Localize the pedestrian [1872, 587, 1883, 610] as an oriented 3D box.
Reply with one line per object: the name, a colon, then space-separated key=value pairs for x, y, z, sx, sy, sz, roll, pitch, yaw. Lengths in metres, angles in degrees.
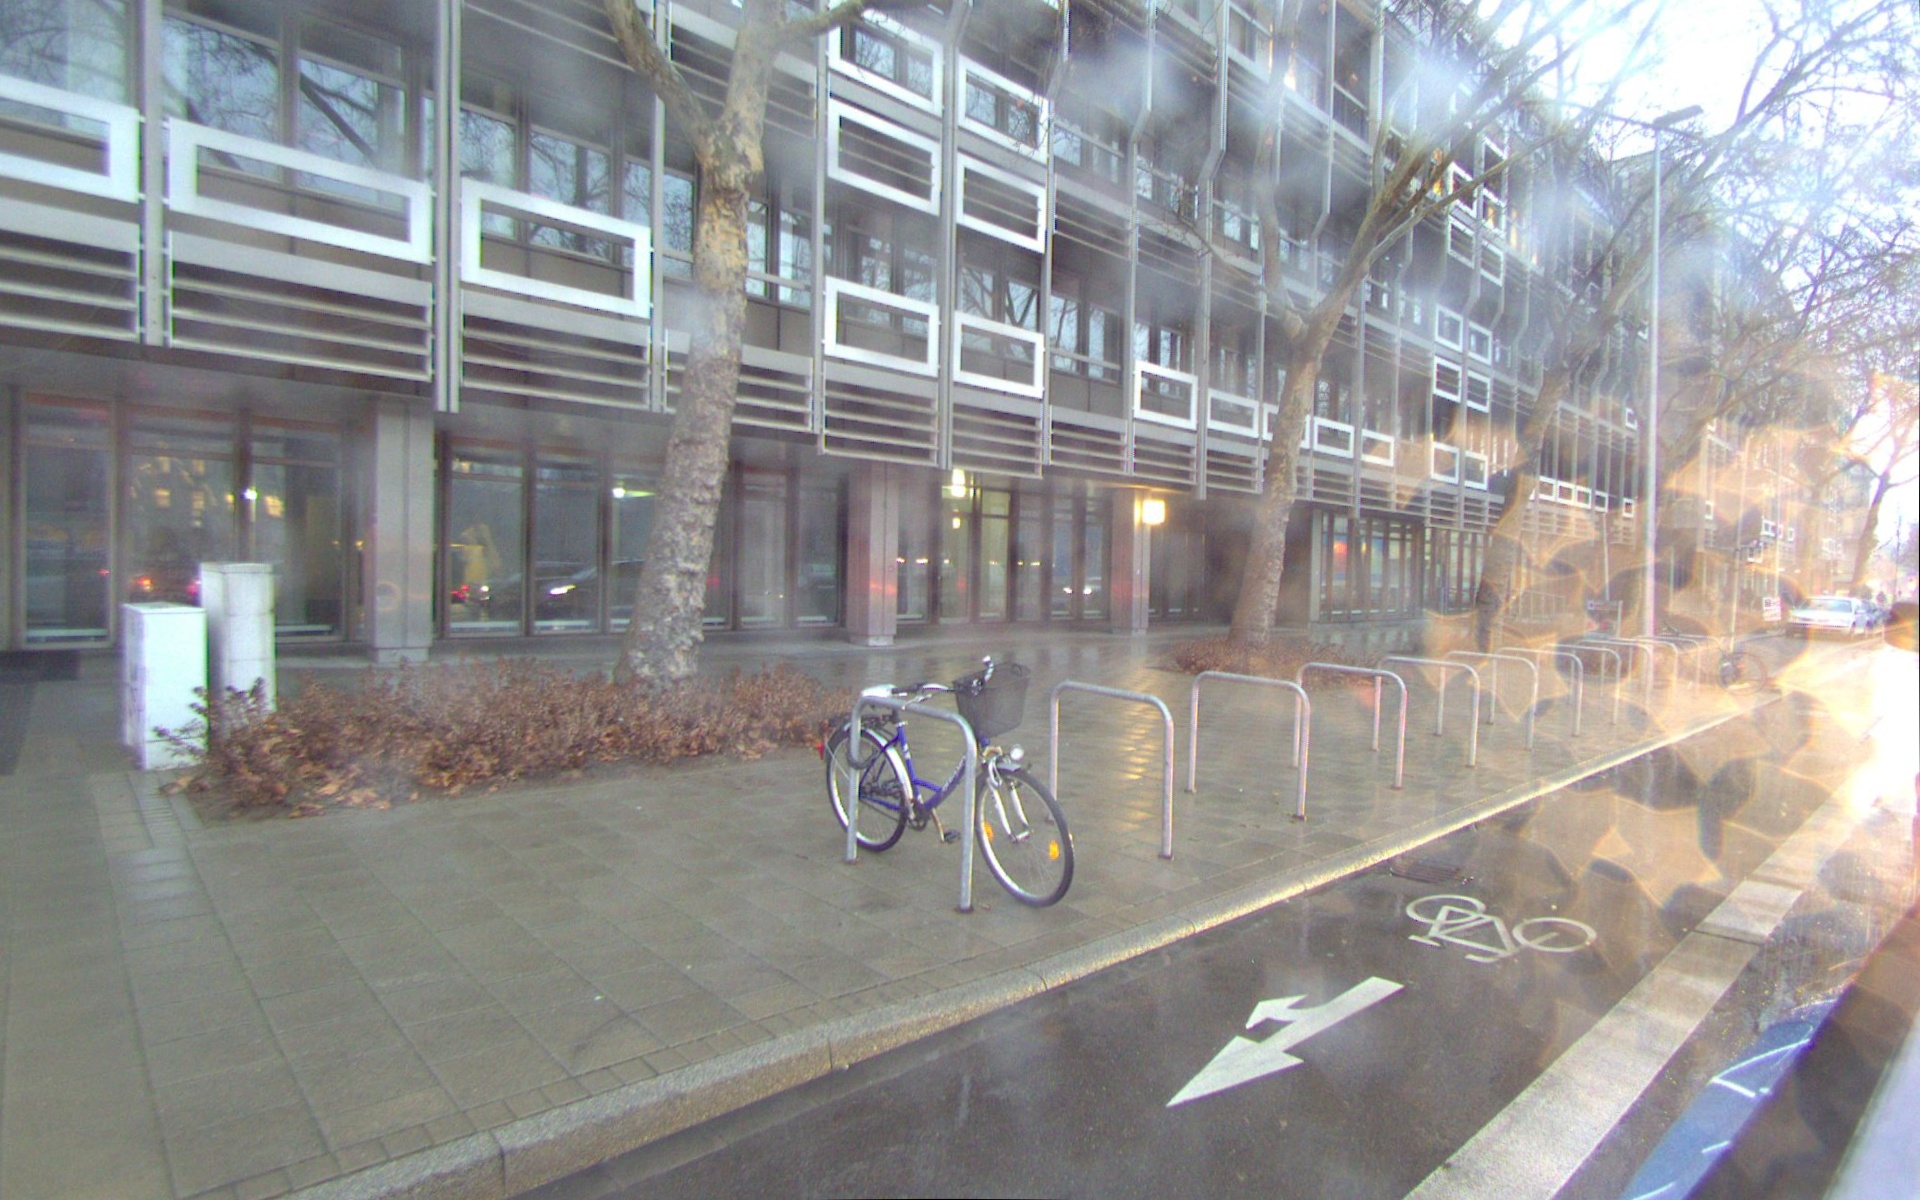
pedestrian: x=72.223 y=-0.153 z=79.636 sx=0.584 sy=1.771 sz=0.658 roll=2 pitch=2 yaw=45

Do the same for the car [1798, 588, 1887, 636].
car: x=29.412 y=0.363 z=33.689 sx=3.930 sy=1.482 sz=1.711 roll=-1 pitch=1 yaw=-41

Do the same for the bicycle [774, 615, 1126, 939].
bicycle: x=-0.134 y=0.716 z=4.875 sx=0.629 sy=1.145 sz=1.810 roll=2 pitch=2 yaw=-41

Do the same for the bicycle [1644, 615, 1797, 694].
bicycle: x=11.694 y=0.812 z=15.595 sx=0.864 sy=1.004 sz=1.704 roll=0 pitch=4 yaw=-41

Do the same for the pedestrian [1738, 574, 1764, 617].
pedestrian: x=41.909 y=-0.248 z=53.637 sx=1.056 sy=2.222 sz=1.096 roll=0 pitch=0 yaw=38

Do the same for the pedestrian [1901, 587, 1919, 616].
pedestrian: x=59.816 y=0.095 z=63.726 sx=0.765 sy=1.771 sz=0.913 roll=2 pitch=2 yaw=45

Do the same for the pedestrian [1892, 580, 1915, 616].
pedestrian: x=47.125 y=-0.121 z=50.527 sx=0.765 sy=1.771 sz=0.913 roll=2 pitch=2 yaw=45

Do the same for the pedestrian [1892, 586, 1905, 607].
pedestrian: x=81.329 y=-0.278 z=87.663 sx=0.765 sy=1.771 sz=0.913 roll=2 pitch=2 yaw=45

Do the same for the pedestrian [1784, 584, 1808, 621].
pedestrian: x=40.761 y=0.093 z=49.355 sx=0.765 sy=1.771 sz=0.913 roll=2 pitch=2 yaw=45

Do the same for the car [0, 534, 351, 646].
car: x=-10.830 y=-0.177 z=13.967 sx=3.929 sy=1.326 sz=1.998 roll=0 pitch=3 yaw=-40

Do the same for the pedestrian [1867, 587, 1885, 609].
pedestrian: x=59.000 y=-0.131 z=65.190 sx=0.738 sy=1.354 sz=0.781 roll=0 pitch=0 yaw=-41

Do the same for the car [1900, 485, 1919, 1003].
car: x=5.469 y=0.501 z=4.369 sx=3.934 sy=1.864 sz=1.874 roll=-1 pitch=0 yaw=-44

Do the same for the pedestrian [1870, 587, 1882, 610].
pedestrian: x=70.581 y=-0.128 z=77.969 sx=0.584 sy=1.771 sz=0.658 roll=2 pitch=2 yaw=45
